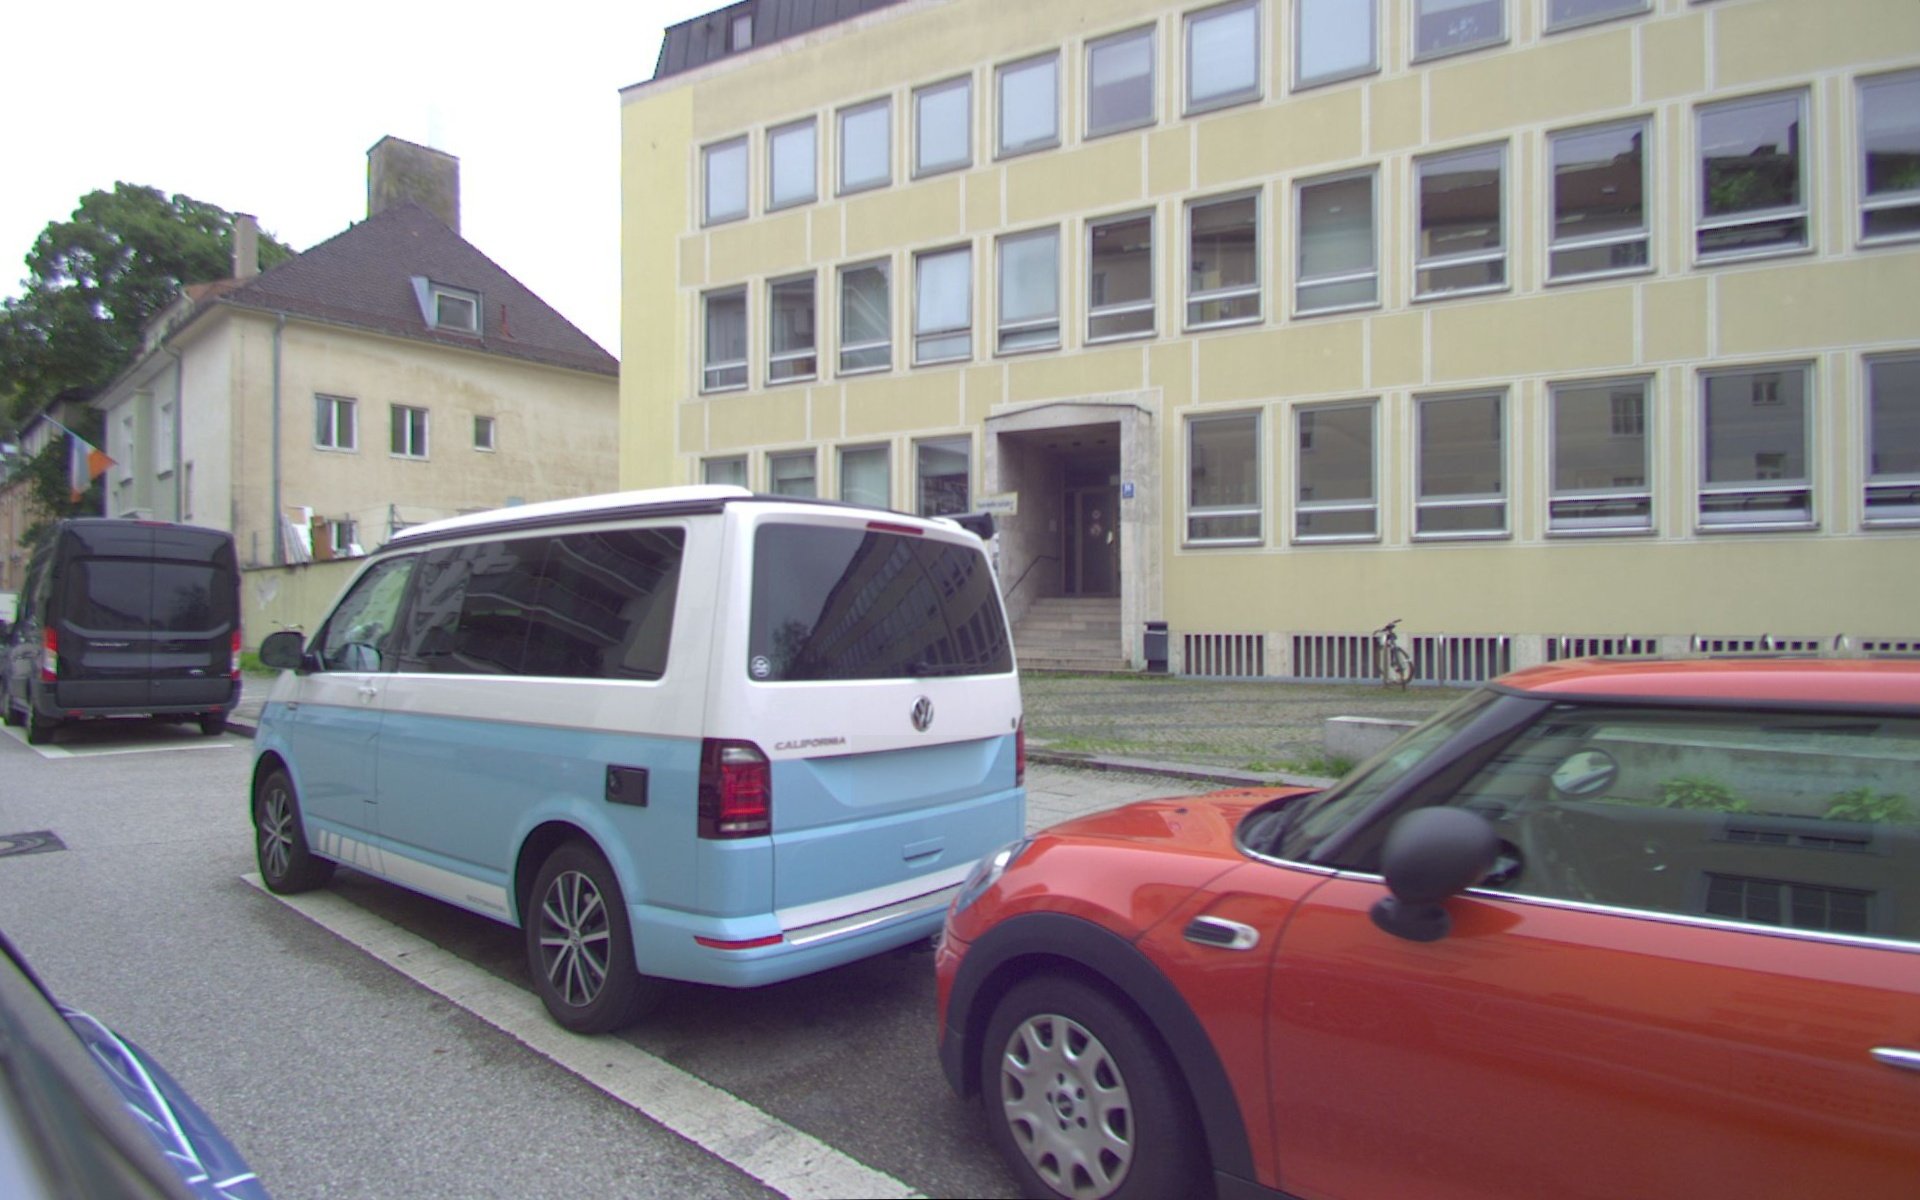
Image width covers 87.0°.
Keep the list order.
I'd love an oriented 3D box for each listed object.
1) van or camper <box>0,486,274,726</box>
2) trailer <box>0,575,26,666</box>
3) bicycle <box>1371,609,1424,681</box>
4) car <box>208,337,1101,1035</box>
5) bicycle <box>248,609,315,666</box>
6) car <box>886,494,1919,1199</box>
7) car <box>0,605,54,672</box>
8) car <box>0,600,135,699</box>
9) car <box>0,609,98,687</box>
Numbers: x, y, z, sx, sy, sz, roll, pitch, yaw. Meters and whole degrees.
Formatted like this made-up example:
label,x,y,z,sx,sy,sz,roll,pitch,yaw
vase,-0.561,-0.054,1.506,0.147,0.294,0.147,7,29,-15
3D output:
label,x,y,z,sx,sy,sz,roll,pitch,yaw
van or camper,-11.611,0.153,13.982,5.560,2.671,2.268,-1,-3,43
trailer,-28.261,0.557,28.956,4.579,2.490,1.953,-1,-4,45
bicycle,6.276,0.629,14.565,0.410,0.952,1.406,-1,0,12
car,-1.906,0.323,5.175,4.955,1.975,1.896,-2,-3,39
bicycle,-15.498,0.836,23.094,1.867,1.243,0.794,0,-1,41
car,1.782,0.598,2.233,3.707,1.417,1.786,-1,-3,41
car,-23.830,0.931,24.918,5.092,1.553,1.843,-2,-3,44
car,-15.677,0.811,17.259,3.903,1.508,1.637,-1,-3,38
car,-19.003,0.938,20.395,4.281,1.447,1.659,-1,-3,39
